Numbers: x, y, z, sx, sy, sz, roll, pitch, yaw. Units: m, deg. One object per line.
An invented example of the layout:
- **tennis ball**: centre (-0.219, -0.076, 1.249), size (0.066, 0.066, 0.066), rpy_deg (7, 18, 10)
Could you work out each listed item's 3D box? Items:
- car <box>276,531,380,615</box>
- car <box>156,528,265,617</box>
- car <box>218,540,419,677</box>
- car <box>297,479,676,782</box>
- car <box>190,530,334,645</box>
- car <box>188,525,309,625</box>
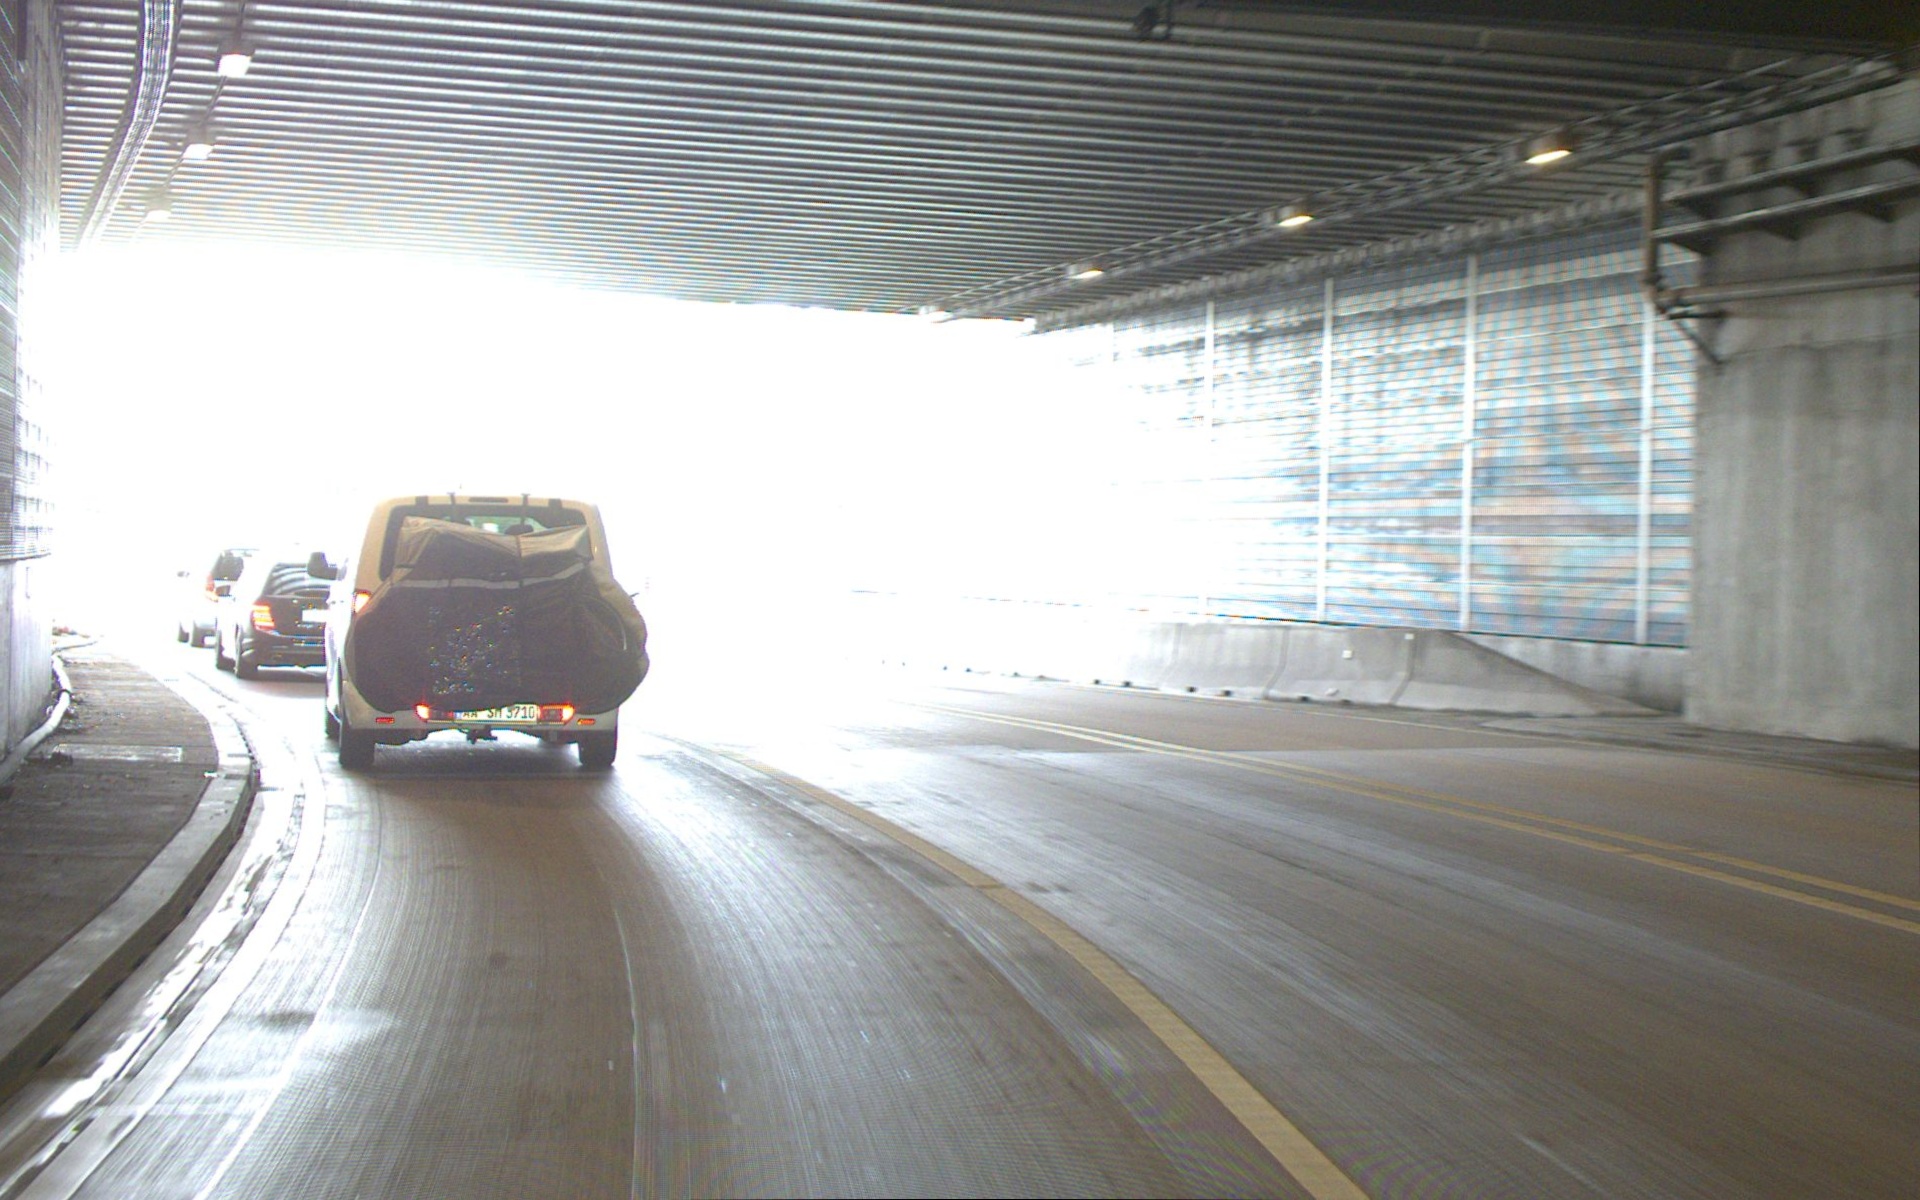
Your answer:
- **car**: centre (-13.093, -0.578, 71.118), size (1.993, 1.658, 4.001), rpy_deg (1, 1, -12)
- **car**: centre (-14.635, -0.557, 67.194), size (1.993, 1.658, 4.001), rpy_deg (1, 1, -12)
- **car**: centre (-7.291, 0.058, 38.805), size (1.814, 1.429, 4.066), rpy_deg (1, 1, -16)
- **car**: centre (-3.444, 0.139, 24.015), size (1.992, 1.852, 5.643), rpy_deg (0, 1, -14)
- **car**: centre (-10.211, -0.217, 50.119), size (1.920, 1.483, 4.067), rpy_deg (2, 1, -13)
- **car**: centre (-12.468, -0.457, 60.224), size (1.993, 1.658, 4.001), rpy_deg (1, 1, -12)
